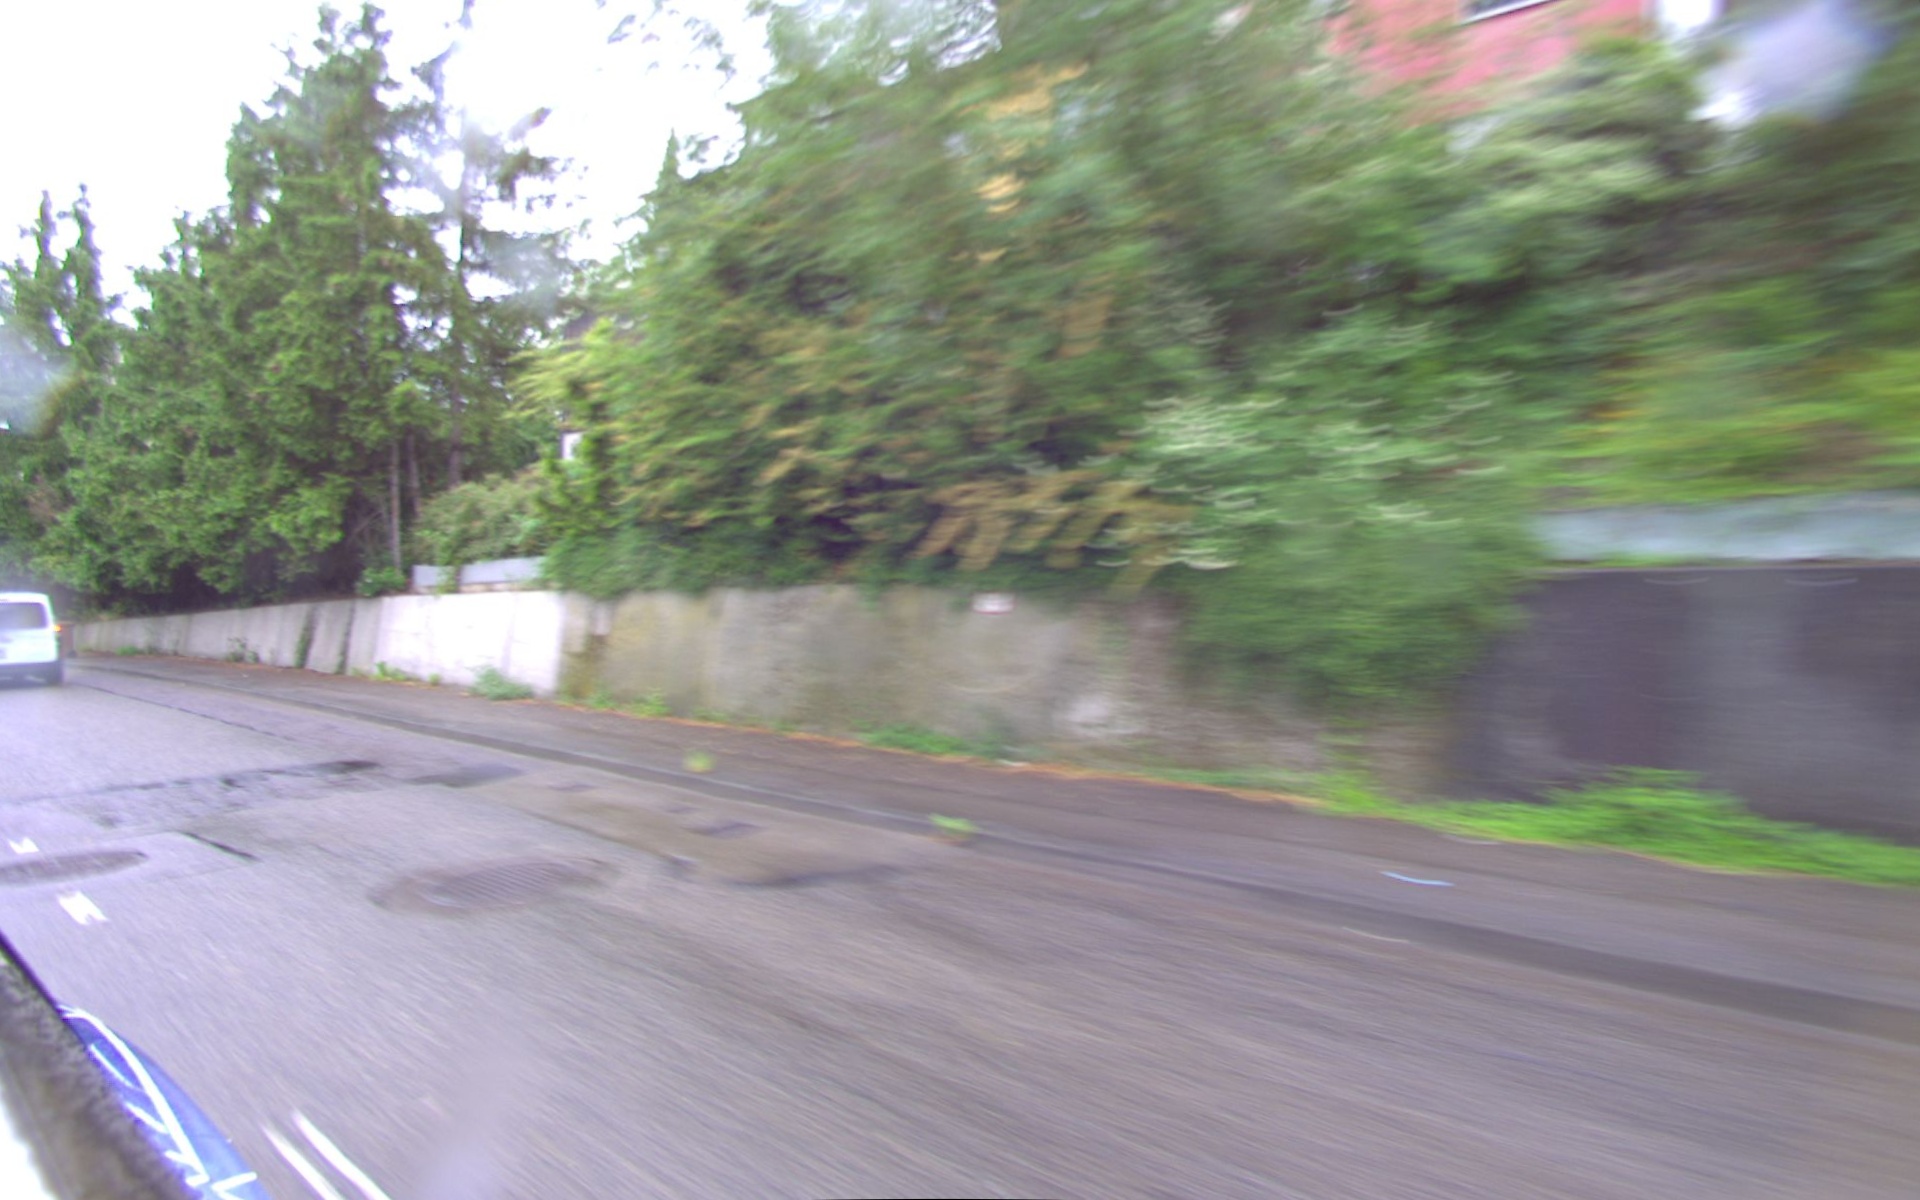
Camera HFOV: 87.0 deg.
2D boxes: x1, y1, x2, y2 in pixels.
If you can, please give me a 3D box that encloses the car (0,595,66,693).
[{"bbox_3d":[-19.396,0.842,19.998,4.415,1.768,1.822,-1,1,38],"label":"car"}]
